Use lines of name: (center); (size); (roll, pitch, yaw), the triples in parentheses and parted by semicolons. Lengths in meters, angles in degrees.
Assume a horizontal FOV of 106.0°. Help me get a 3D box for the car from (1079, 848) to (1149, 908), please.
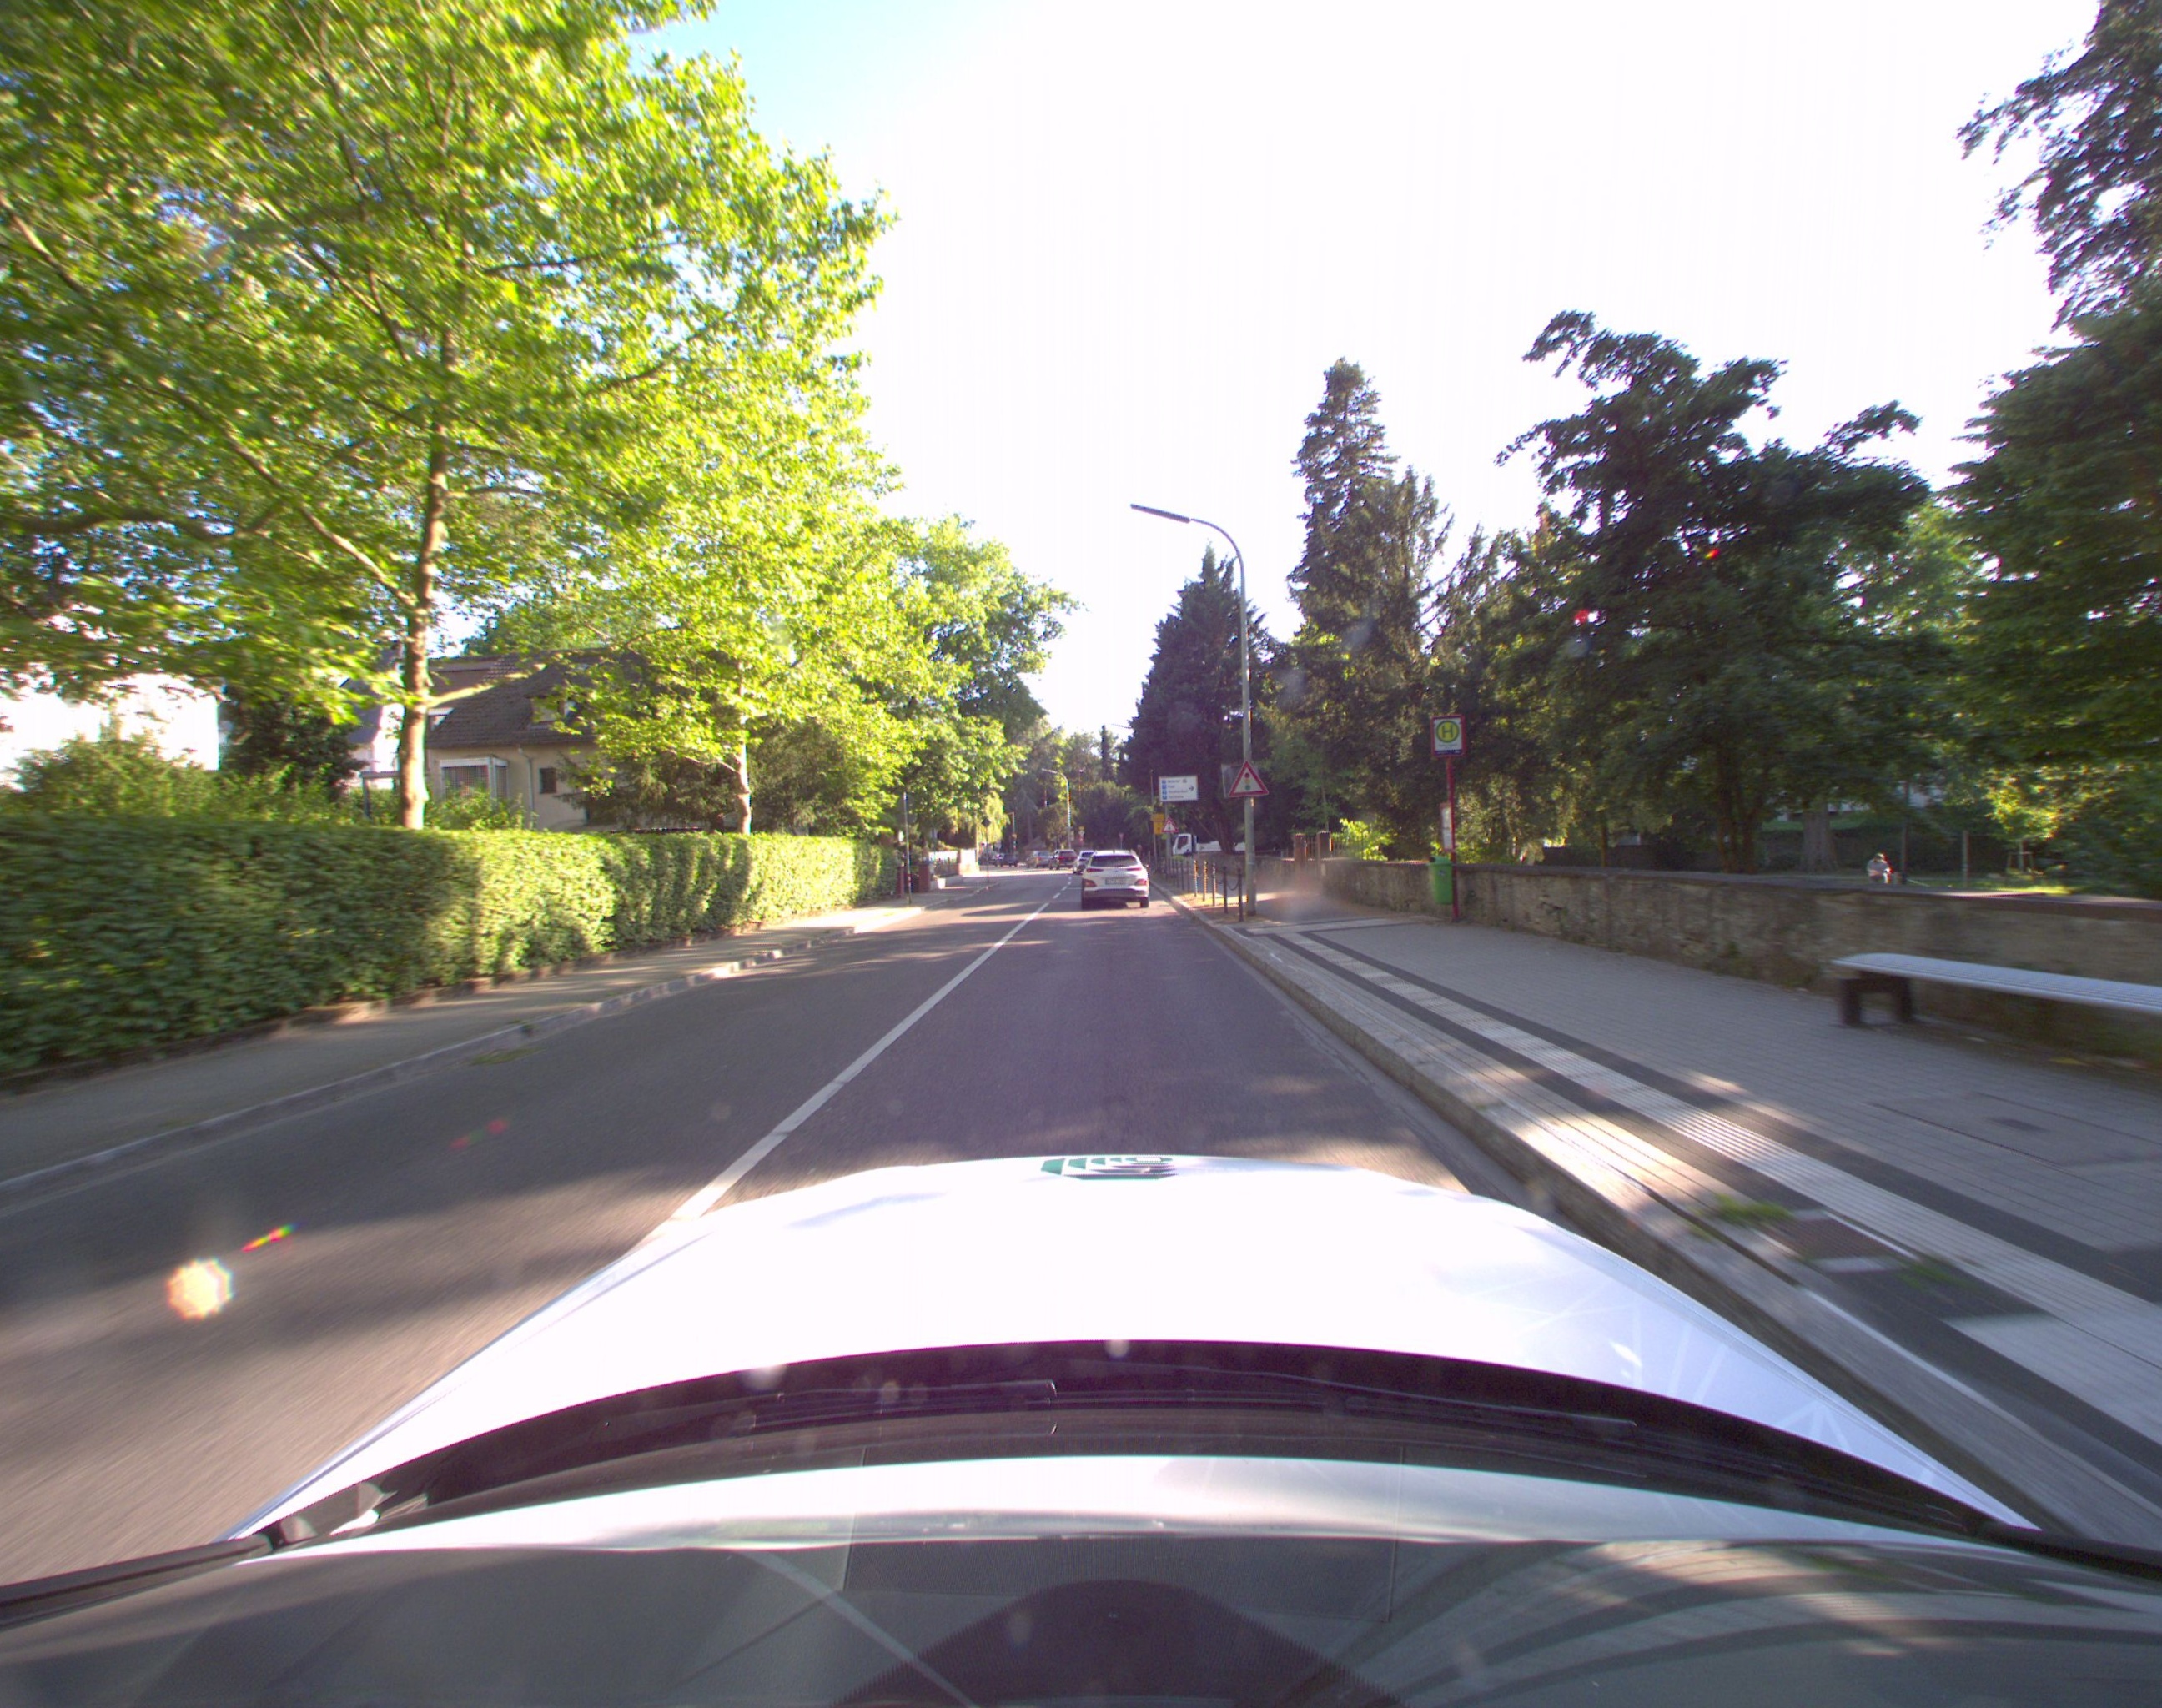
car: (0.891, 0.612, 23.090); (1.814, 1.574, 4.001); (0, 0, 1)

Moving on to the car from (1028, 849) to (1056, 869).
car: (-3.651, 0.420, 74.864); (1.834, 1.740, 3.981); (0, 0, -14)

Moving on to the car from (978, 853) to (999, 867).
car: (-11.236, 0.711, 98.737); (1.836, 1.662, 3.977); (0, 0, -17)

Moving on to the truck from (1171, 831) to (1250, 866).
truck: (11.048, -0.440, 69.831); (6.553, 2.895, 2.437); (0, 0, 6)

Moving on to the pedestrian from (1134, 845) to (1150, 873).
pedestrian: (4.078, 0.310, 54.678); (0.947, 1.826, 0.548); (-1, 2, -37)

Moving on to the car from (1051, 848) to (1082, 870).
car: (-1.188, 0.358, 64.877); (1.833, 1.662, 3.984); (0, 0, -12)

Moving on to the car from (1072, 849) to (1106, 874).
car: (0.487, 0.458, 52.386); (1.802, 1.537, 3.993); (0, 0, -5)

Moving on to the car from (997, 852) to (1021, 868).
car: (-7.777, 0.652, 87.427); (1.835, 1.662, 3.978); (-1, 0, -16)

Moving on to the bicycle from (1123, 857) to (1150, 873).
bicycle: (3.744, 0.712, 54.798); (1.826, 1.043, 0.555); (-1, 2, -36)

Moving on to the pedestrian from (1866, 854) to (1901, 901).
pedestrian: (28.348, 0.806, 28.783); (0.612, 1.640, 0.637); (0, 0, 3)
